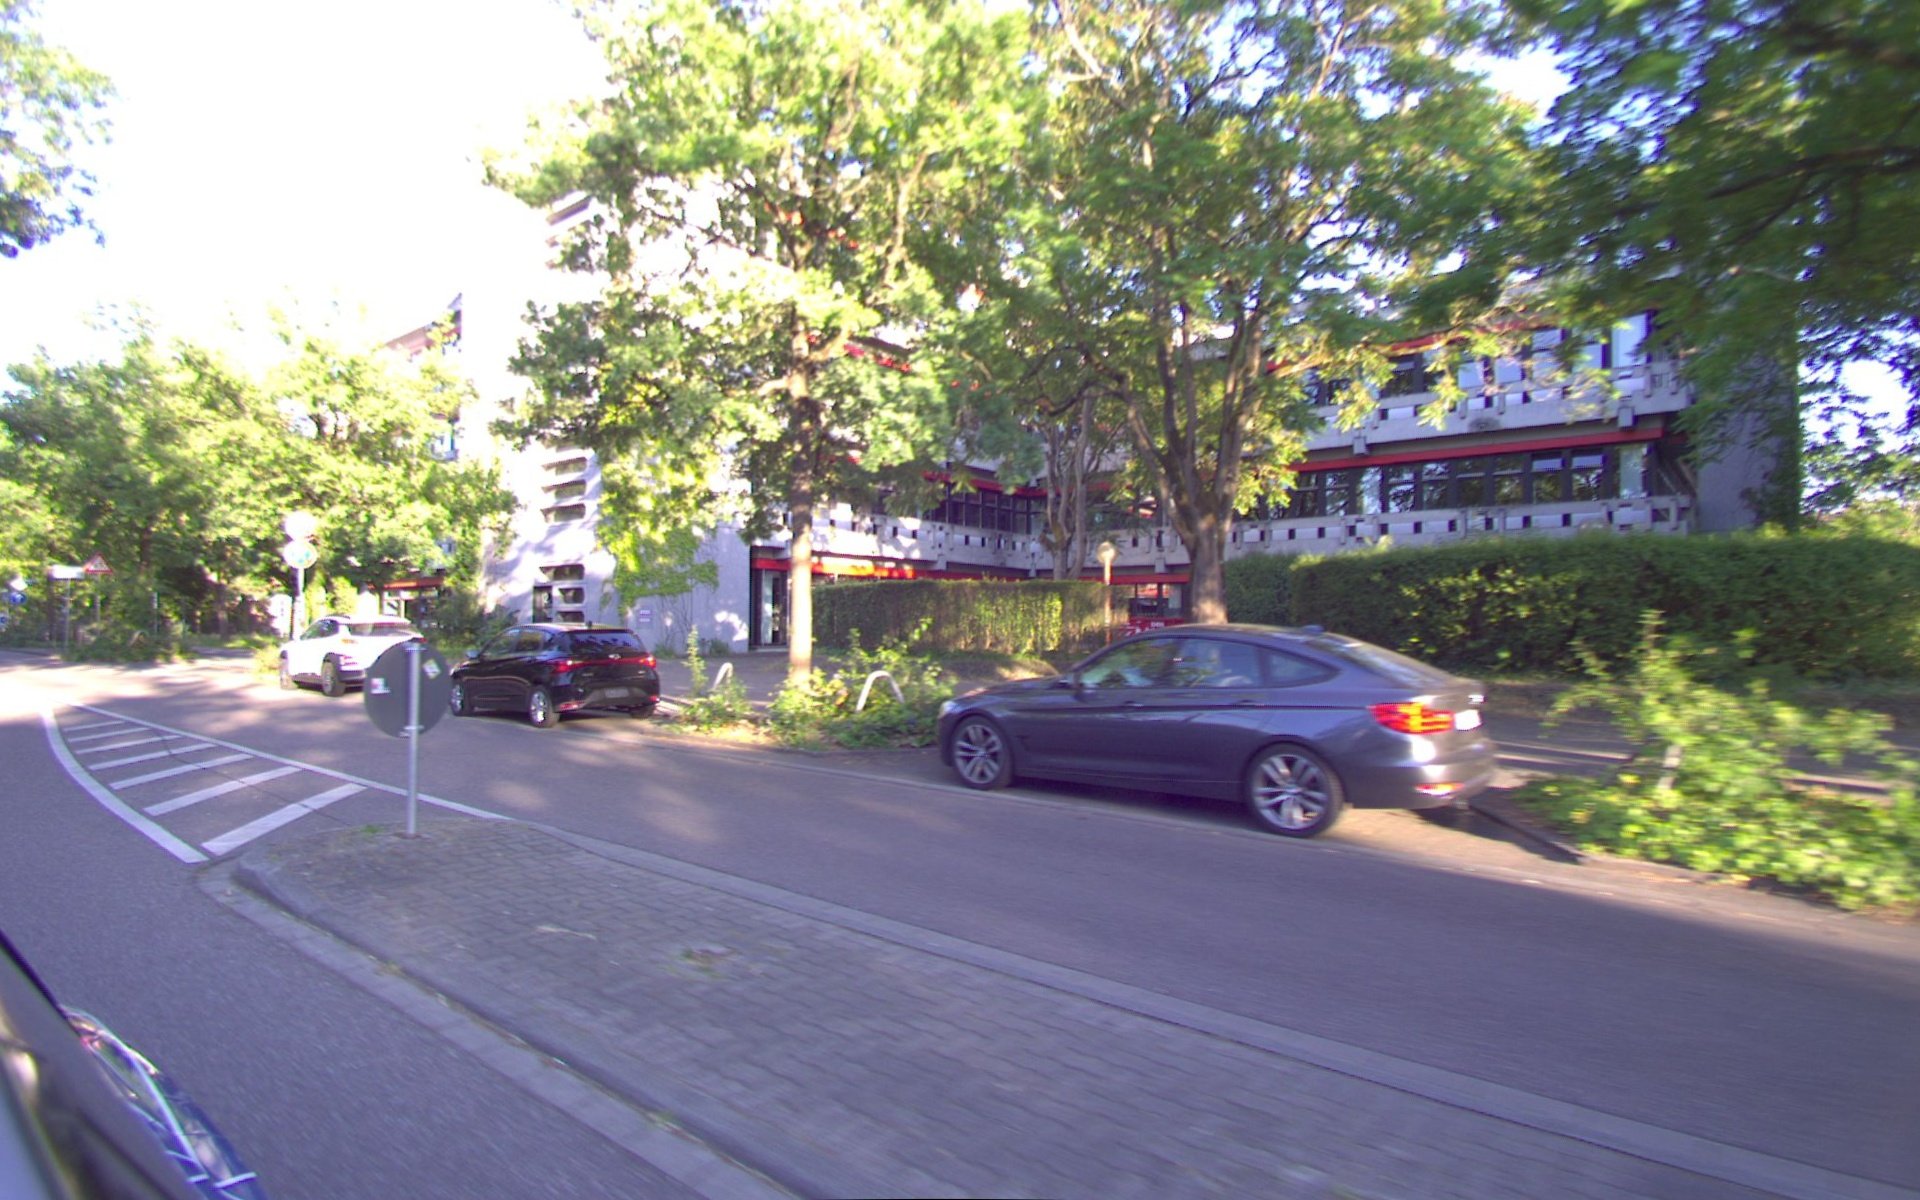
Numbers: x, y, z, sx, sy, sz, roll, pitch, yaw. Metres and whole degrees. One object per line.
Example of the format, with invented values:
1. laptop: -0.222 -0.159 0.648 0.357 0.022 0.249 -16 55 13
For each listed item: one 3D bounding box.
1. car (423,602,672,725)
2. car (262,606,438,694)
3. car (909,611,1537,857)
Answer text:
1. car: -6.338 0.856 15.355 4.143 1.628 1.762 0 -1 39
2. car: -12.522 0.963 20.699 4.143 1.628 1.785 0 -2 39
3. car: 1.935 0.851 8.543 4.859 1.522 1.784 -1 -1 41
